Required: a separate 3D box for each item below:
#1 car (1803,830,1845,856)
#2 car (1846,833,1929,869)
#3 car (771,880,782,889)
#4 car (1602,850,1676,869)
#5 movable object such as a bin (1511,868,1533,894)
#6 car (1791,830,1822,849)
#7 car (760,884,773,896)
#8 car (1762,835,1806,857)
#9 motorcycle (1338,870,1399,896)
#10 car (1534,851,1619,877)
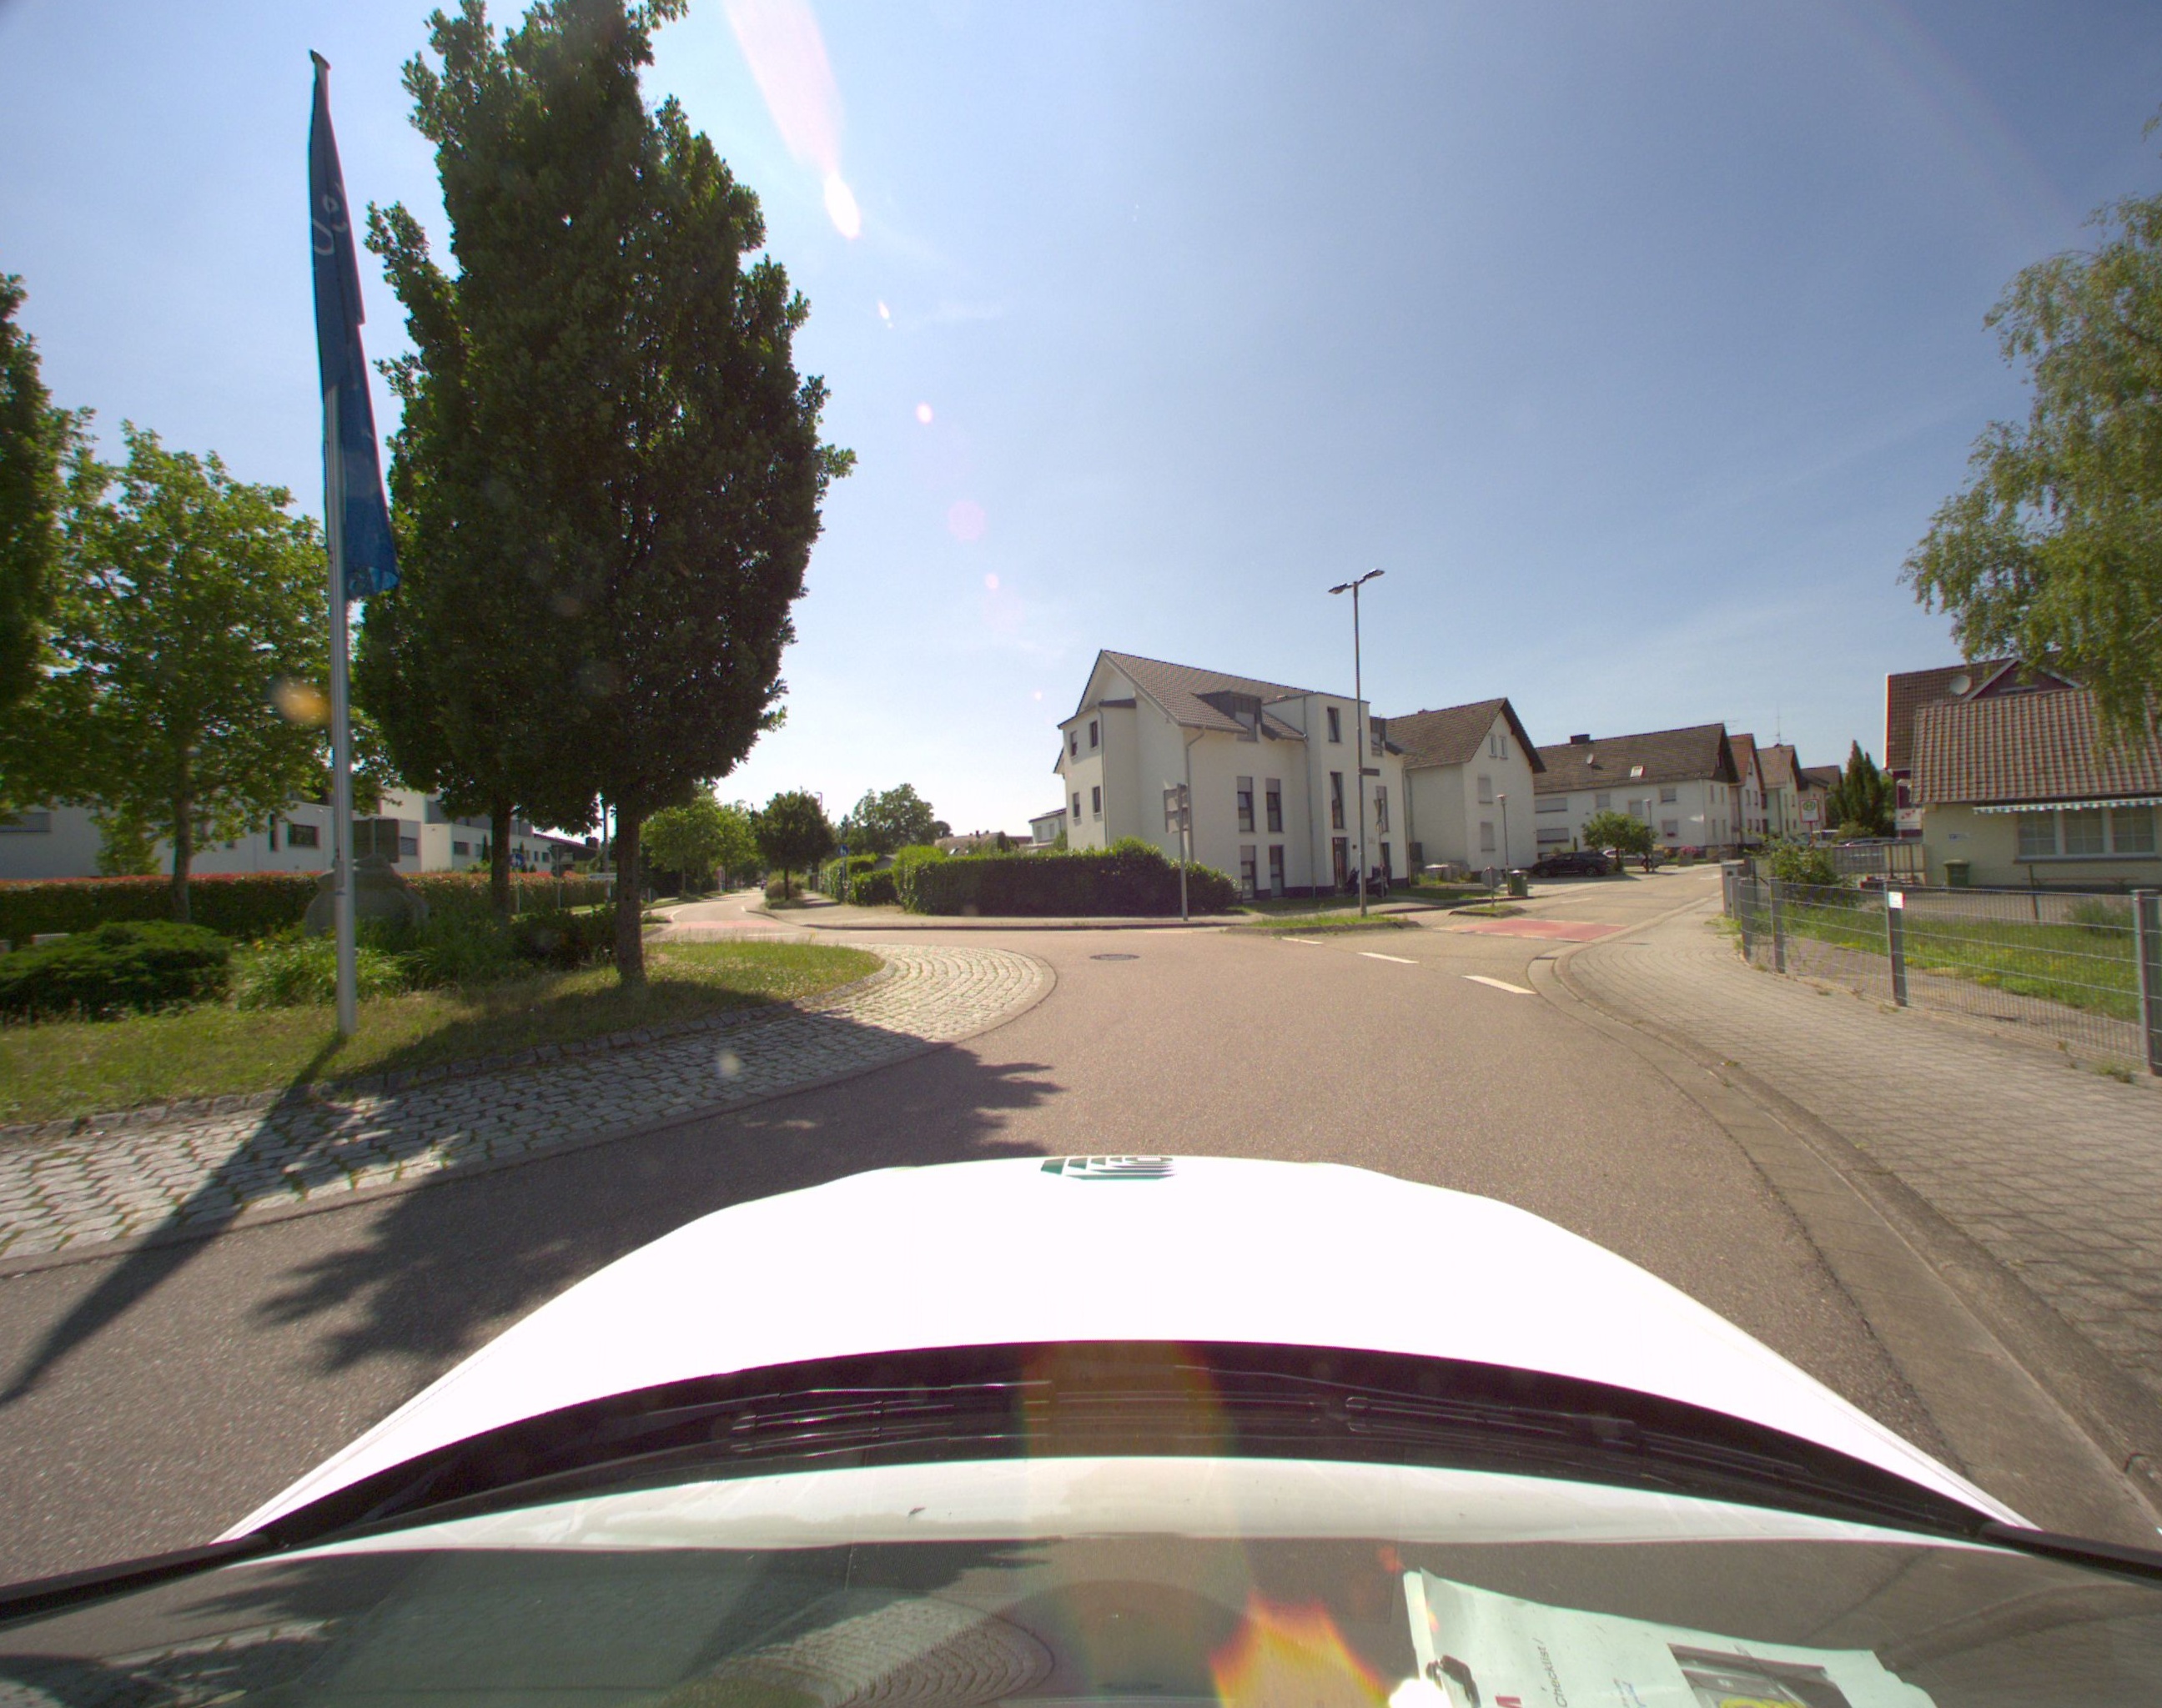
[{"bbox_3d":[55.918,-0.802,61.271,4.021,1.787,1.835,0,-3,-41],"label":"car"},{"bbox_3d":[39.576,-0.133,39.999,1.177,1.598,2.720,1,-3,-41],"label":"car"},{"bbox_3d":[-60.987,6.179,163.065,2.000,1.770,3.973,-1,-2,-19],"label":"car"},{"bbox_3d":[39.066,0.419,57.082,1.851,1.190,3.951,-1,-1,-43],"label":"car"},{"bbox_3d":[18.518,1.142,34.203,0.460,1.083,0.640,-1,-1,-33],"label":"movable object such as a bin"},{"bbox_3d":[66.003,-1.286,74.056,1.906,1.604,4.024,-3,-2,43],"label":"car"},{"bbox_3d":[-53.583,6.103,138.886,1.930,1.886,3.972,-1,-2,-20],"label":"car"},{"bbox_3d":[55.290,-0.633,64.022,4.021,1.553,1.976,-1,-1,-40],"label":"car"},{"bbox_3d":[11.668,1.178,33.117,0.675,1.014,2.342,1,-3,-37],"label":"motorcycle"},{"bbox_3d":[29.418,0.602,48.429,1.670,1.383,3.951,-1,-2,-43],"label":"car"}]
